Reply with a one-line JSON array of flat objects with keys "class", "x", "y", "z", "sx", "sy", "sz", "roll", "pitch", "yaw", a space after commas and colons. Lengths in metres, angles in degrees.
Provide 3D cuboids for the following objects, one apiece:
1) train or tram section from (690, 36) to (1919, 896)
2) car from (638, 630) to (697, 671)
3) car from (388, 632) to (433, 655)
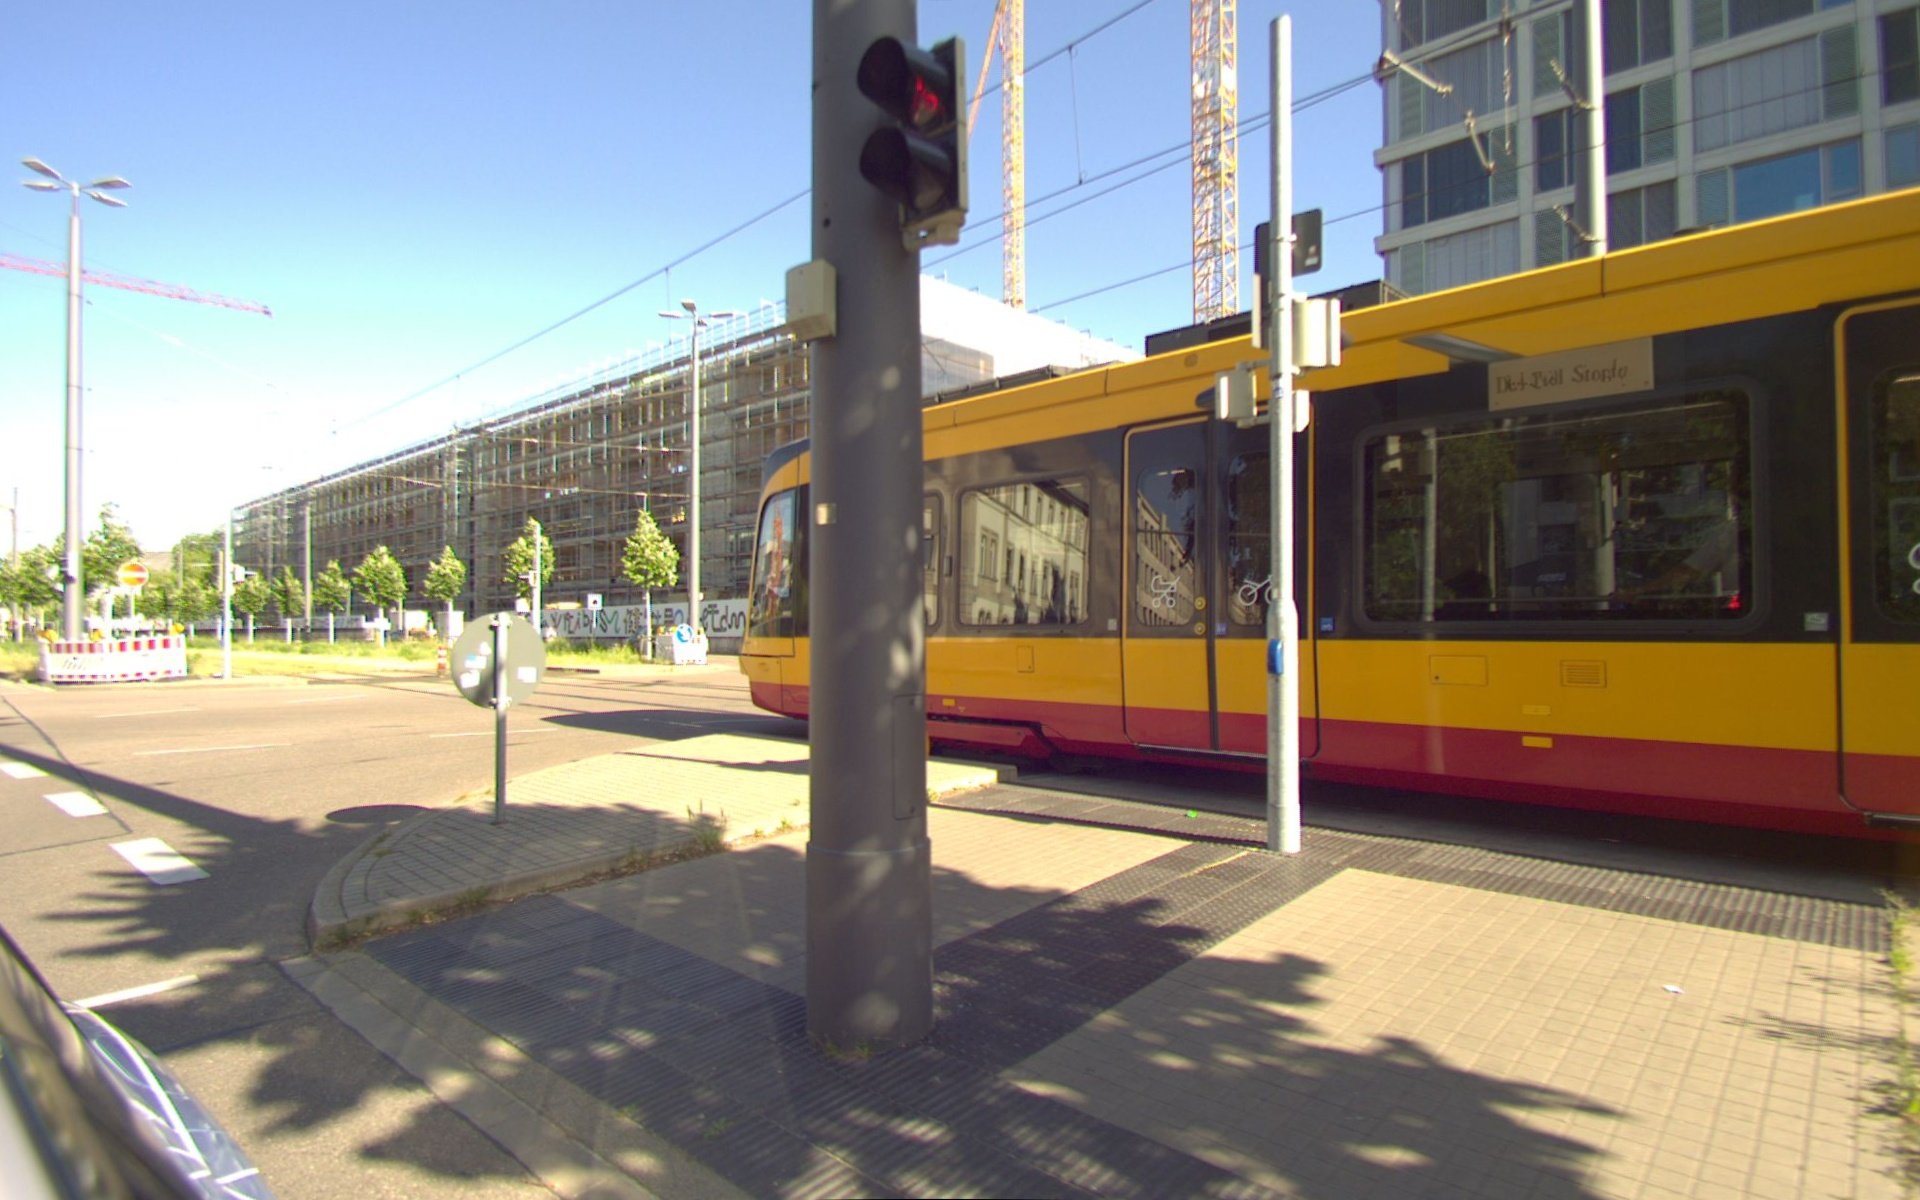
[{"class": "train or tram section", "x": 2.595, "y": -0.506, "z": 7.300, "sx": 1.971, "sy": 3.697, "sz": 14.160, "roll": 0, "pitch": -1, "yaw": -45}, {"class": "car", "x": -12.739, "y": 2.169, "z": 44.336, "sx": 1.861, "sy": 1.586, "sz": 4.006, "roll": -1, "pitch": -1, "yaw": -7}, {"class": "car", "x": -38.283, "y": 3.011, "z": 70.493, "sx": 3.478, "sy": 1.478, "sz": 1.578, "roll": -2, "pitch": -1, "yaw": 40}]
